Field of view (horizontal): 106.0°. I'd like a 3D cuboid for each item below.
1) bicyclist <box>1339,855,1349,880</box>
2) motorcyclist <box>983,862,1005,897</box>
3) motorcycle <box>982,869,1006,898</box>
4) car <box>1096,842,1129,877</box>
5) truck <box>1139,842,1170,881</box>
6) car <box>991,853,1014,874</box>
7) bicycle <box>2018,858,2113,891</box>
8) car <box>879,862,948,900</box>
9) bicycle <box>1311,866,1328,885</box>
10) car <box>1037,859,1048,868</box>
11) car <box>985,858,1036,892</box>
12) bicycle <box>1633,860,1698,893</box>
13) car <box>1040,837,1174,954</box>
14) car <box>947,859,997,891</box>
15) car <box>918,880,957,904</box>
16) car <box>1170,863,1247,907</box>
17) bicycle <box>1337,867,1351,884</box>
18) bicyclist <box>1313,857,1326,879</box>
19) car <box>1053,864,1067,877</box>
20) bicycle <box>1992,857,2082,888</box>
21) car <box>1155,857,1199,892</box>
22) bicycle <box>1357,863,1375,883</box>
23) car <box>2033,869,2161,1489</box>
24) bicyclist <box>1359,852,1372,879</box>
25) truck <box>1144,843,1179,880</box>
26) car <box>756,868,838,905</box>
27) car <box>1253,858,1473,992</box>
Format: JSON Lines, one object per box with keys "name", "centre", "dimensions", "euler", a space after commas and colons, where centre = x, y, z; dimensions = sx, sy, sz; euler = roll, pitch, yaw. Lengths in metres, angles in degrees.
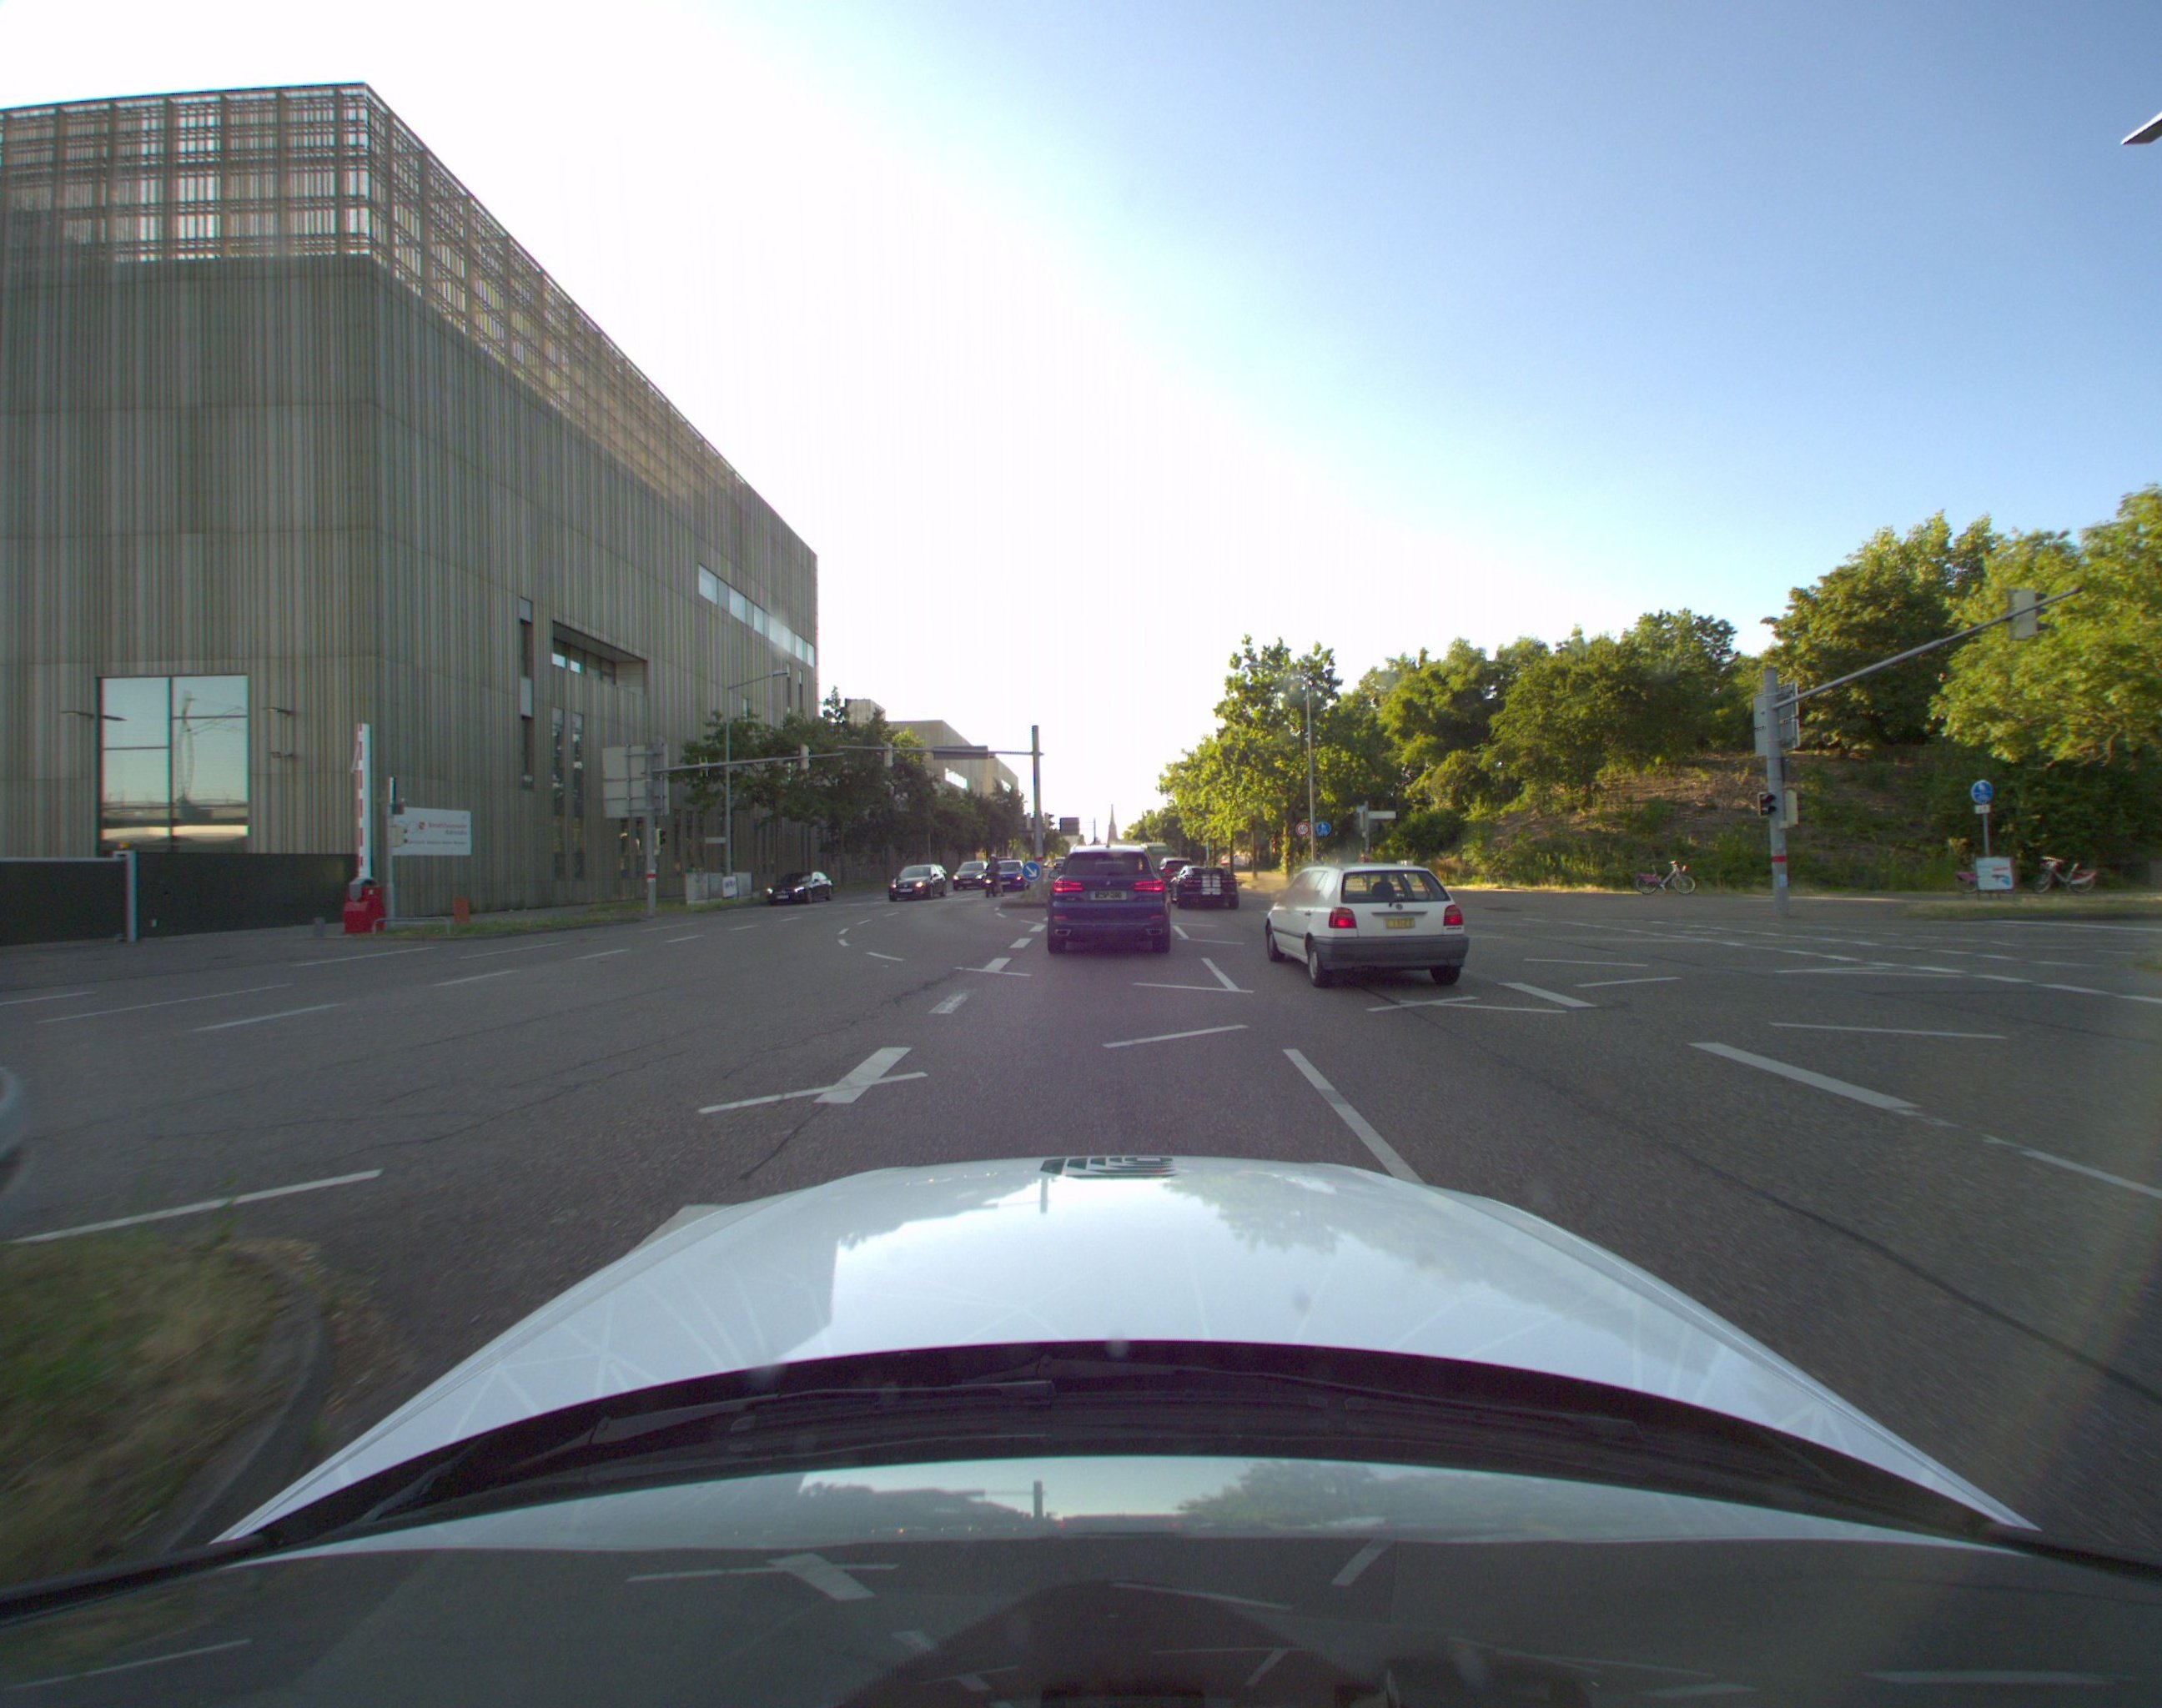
{"name": "bicyclist", "centre": [13.946, 0.715, 43.159], "dimensions": [0.426, 1.309, 0.460], "euler": [0, -2, 2]}
{"name": "motorcyclist", "centre": [-3.539, 1.020, 33.314], "dimensions": [0.796, 1.349, 1.272], "euler": [-3, 1, -5]}
{"name": "motorcycle", "centre": [-3.518, 1.185, 33.178], "dimensions": [0.838, 1.076, 2.397], "euler": [-3, 0, -5]}
{"name": "car", "centre": [2.373, 0.478, 62.588], "dimensions": [2.132, 2.576, 5.081], "euler": [0, -2, -3]}
{"name": "truck", "centre": [5.144, 0.554, 57.649], "dimensions": [1.988, 2.669, 4.002], "euler": [0, -2, 2]}
{"name": "car", "centre": [-8.114, 0.999, 84.717], "dimensions": [1.788, 1.978, 3.994], "euler": [-4, 0, 1]}
{"name": "bicycle", "centre": [29.867, 0.600, 24.730], "dimensions": [1.778, 0.980, 0.642], "euler": [0, 0, 16]}
{"name": "car", "centre": [-7.075, 1.143, 34.738], "dimensions": [1.986, 1.475, 4.080], "euler": [1, -1, 1]}
{"name": "bicycle", "centre": [14.380, 1.311, 49.134], "dimensions": [0.562, 1.112, 1.622], "euler": [0, -2, 2]}
{"name": "car", "centre": [-7.739, 1.887, 164.280], "dimensions": [1.750, 1.705, 4.494], "euler": [-5, -2, 1]}
{"name": "car", "centre": [-3.378, 0.997, 39.658], "dimensions": [1.694, 1.452, 3.862], "euler": [-5, -2, 5]}
{"name": "bicycle", "centre": [19.365, 0.746, 27.010], "dimensions": [1.649, 0.991, 0.581], "euler": [-2, 1, 18]}
{"name": "car", "centre": [0.479, 0.667, 14.418], "dimensions": [1.986, 1.734, 4.534], "euler": [0, -1, 2]}
{"name": "car", "centre": [-6.135, 1.210, 46.431], "dimensions": [1.987, 1.592, 4.715], "euler": [-5, -2, 1]}
{"name": "car", "centre": [-10.986, 2.877, 62.560], "dimensions": [1.987, 1.592, 4.715], "euler": [-5, -2, 1]}
{"name": "car", "centre": [3.978, 0.966, 26.021], "dimensions": [1.986, 1.295, 4.002], "euler": [0, -1, 2]}
{"name": "bicycle", "centre": [13.929, 1.143, 43.086], "dimensions": [0.435, 0.914, 1.027], "euler": [0, -2, 2]}
{"name": "bicyclist", "centre": [14.381, 0.821, 49.149], "dimensions": [0.541, 1.316, 0.836], "euler": [0, -2, 2]}
{"name": "car", "centre": [-3.263, 2.551, 127.001], "dimensions": [1.750, 1.777, 4.494], "euler": [-5, -2, 1]}
{"name": "bicycle", "centre": [30.314, 0.590, 25.848], "dimensions": [1.778, 0.980, 0.642], "euler": [0, -2, 16]}
{"name": "car", "centre": [4.508, 0.964, 38.868], "dimensions": [1.789, 1.559, 4.002], "euler": [0, -1, 2]}
{"name": "bicycle", "centre": [13.240, 0.876, 37.839], "dimensions": [0.436, 0.914, 1.027], "euler": [-3, -2, 2]}
{"name": "car", "centre": [3.209, 0.702, 0.238], "dimensions": [1.610, 1.410, 3.684], "euler": [0, -1, 2]}
{"name": "bicyclist", "centre": [13.258, 0.521, 37.980], "dimensions": [0.426, 1.233, 0.460], "euler": [-1, -2, 2]}
{"name": "truck", "centre": [5.172, 0.539, 52.753], "dimensions": [1.988, 2.315, 4.002], "euler": [0, -2, 2]}
{"name": "car", "centre": [-12.675, 1.430, 36.671], "dimensions": [1.987, 1.400, 4.349], "euler": [-5, -2, 1]}
{"name": "car", "centre": [3.425, 0.805, 10.688], "dimensions": [1.573, 1.413, 4.063], "euler": [0, -1, 1]}
